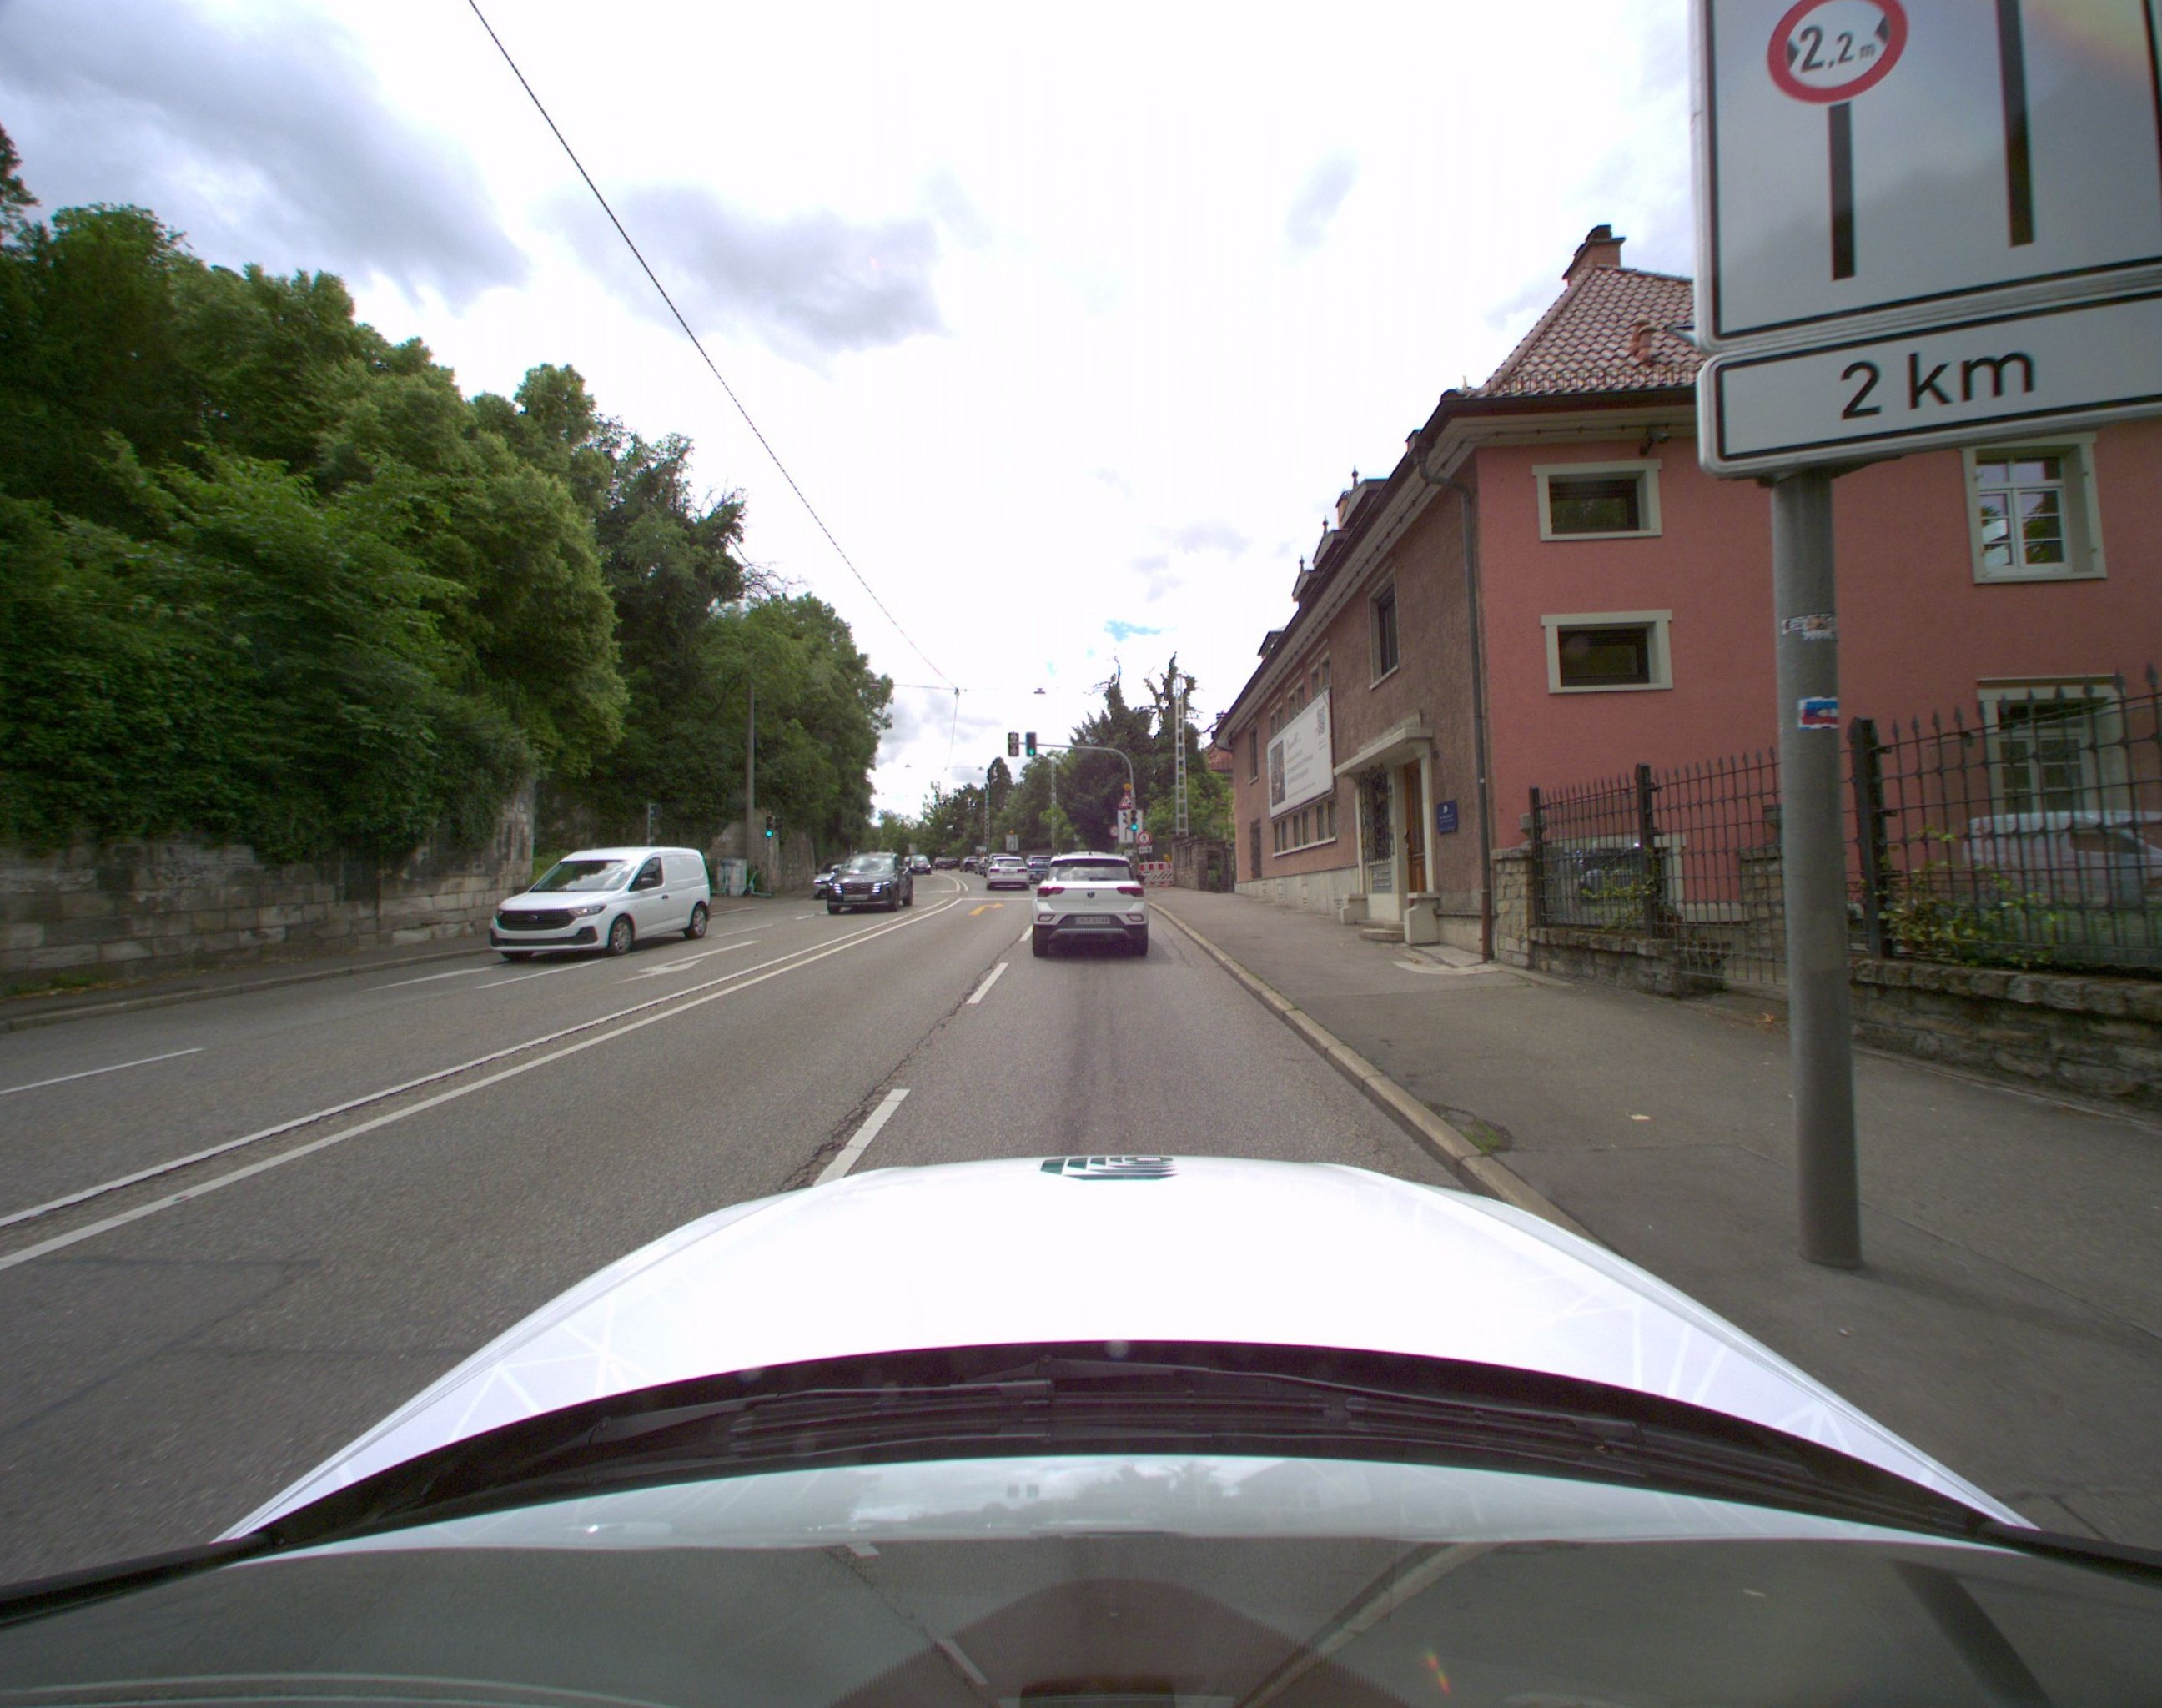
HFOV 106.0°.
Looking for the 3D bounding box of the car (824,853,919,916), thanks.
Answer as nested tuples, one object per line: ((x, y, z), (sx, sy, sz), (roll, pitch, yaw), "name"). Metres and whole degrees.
((-5.999, 0.803, 23.797), (1.845, 1.632, 4.356), (-1, 0, -3), "car")

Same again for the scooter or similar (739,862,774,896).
((-12.508, 0.975, 31.379), (0.429, 1.237, 1.105), (3, -1, 42), "scooter or similar")

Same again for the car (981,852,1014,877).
((-5.645, 0.682, 54.866), (1.993, 1.556, 4.138), (0, 0, -9), "car")

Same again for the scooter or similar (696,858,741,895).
((-13.423, 0.854, 30.205), (0.429, 1.238, 1.358), (3, -5, 34), "scooter or similar")

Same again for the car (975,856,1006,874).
((-7.396, 0.897, 66.324), (1.996, 1.450, 4.131), (-1, -1, -14), "car")

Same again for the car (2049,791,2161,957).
((11.667, 0.190, 7.660), (1.430, 1.683, 3.146), (0, -2, 3), "car")

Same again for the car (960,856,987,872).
((-10.284, 0.965, 77.861), (1.998, 1.450, 4.127), (-1, -1, -16), "car")

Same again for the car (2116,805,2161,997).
((8.900, 0.358, 4.274), (1.985, 1.422, 4.004), (-1, 1, 3), "car")

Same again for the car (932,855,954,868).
((-15.379, 0.811, 90.591), (1.787, 1.454, 3.973), (0, -1, -20), "car")

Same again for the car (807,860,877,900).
((-9.641, 1.017, 33.201), (1.711, 1.403, 4.021), (-2, 0, -2), "car")

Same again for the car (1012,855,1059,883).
((-2.533, 0.817, 44.739), (1.995, 1.414, 4.134), (-1, -1, -11), "car")

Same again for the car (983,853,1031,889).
((-3.336, 0.737, 36.210), (1.758, 1.471, 3.782), (1, -1, -10), "car")

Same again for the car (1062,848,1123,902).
((0.317, 0.666, 26.540), (1.753, 1.609, 3.791), (1, -1, -3), "car")

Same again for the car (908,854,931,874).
((-13.240, 0.802, 66.711), (1.756, 1.566, 3.664), (-1, 0, -12), "car")

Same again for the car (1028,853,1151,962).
((0.104, 0.796, 13.662), (1.752, 1.556, 3.794), (1, -1, -1), "car")

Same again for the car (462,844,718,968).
((-8.333, 0.794, 14.399), (1.887, 1.848, 4.394), (0, 0, -1), "car")
